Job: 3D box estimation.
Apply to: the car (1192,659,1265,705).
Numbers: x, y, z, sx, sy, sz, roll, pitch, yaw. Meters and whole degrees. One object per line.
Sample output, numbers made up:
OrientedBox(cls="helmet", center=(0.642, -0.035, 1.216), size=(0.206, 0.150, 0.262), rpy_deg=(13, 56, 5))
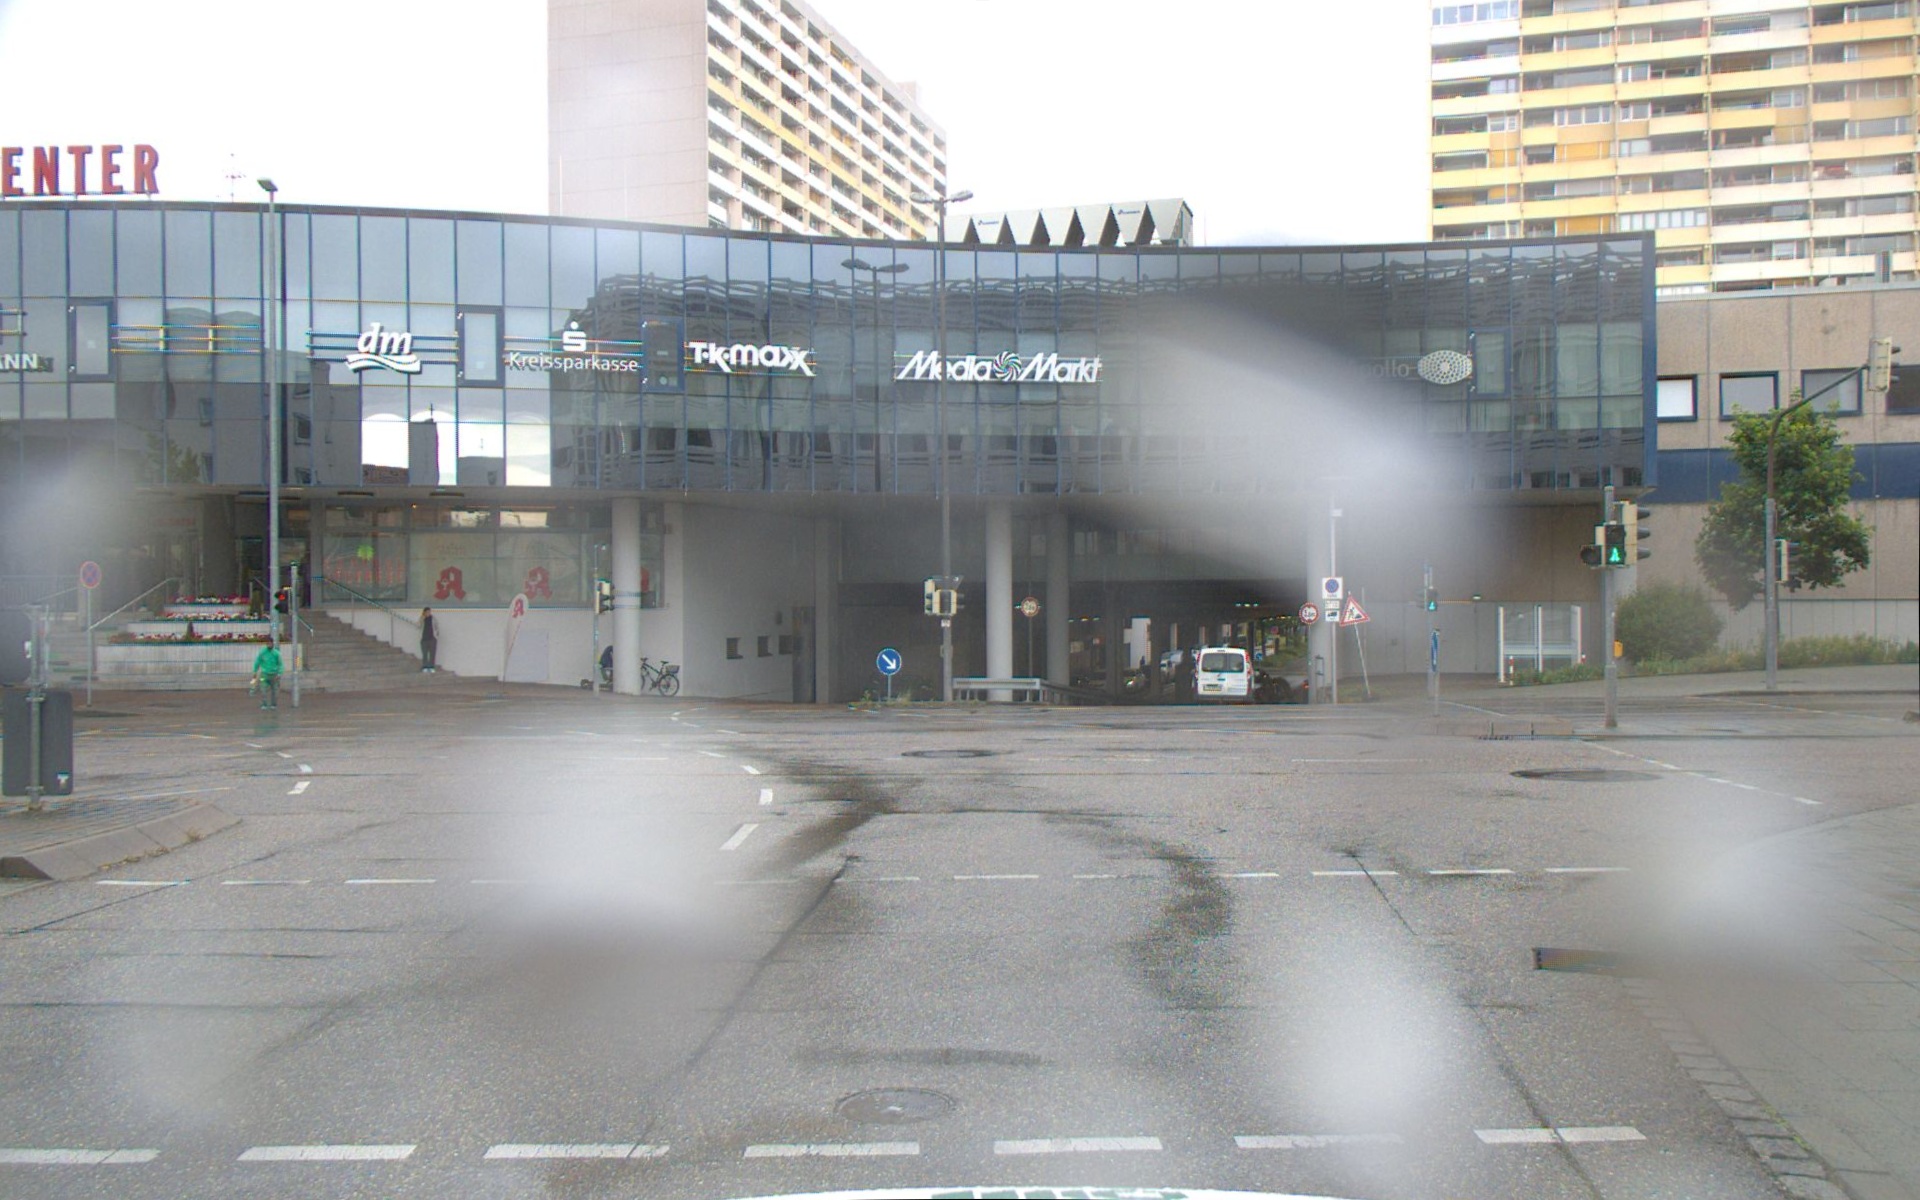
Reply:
OrientedBox(cls="car", center=(9.165, 2.814, 56.299), size=(1.721, 1.490, 3.943), rpy_deg=(-2, -4, 20))

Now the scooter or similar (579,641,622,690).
OrientedBox(cls="scooter or similar", center=(-10.437, 1.907, 48.020), size=(1.147, 1.397, 0.487), rpy_deg=(1, -1, -16))

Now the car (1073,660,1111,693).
OrientedBox(cls="car", center=(7.676, 4.426, 96.139), size=(1.797, 1.758, 4.003), rpy_deg=(-1, -1, 11))

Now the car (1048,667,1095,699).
OrientedBox(cls="car", center=(6.179, 4.588, 91.314), size=(1.874, 1.616, 3.941), rpy_deg=(-1, -1, 15))

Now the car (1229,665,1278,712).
OrientedBox(cls="car", center=(10.854, 3.244, 61.022), size=(1.598, 1.640, 4.265), rpy_deg=(-2, -3, 12))

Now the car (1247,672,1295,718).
OrientedBox(cls="car", center=(13.387, 4.058, 71.106), size=(1.753, 1.802, 4.003), rpy_deg=(-1, -1, 14))

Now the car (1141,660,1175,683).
OrientedBox(cls="car", center=(13.746, 4.924, 114.731), size=(1.951, 1.489, 4.003), rpy_deg=(-1, -1, 12))

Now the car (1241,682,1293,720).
OrientedBox(cls="car", center=(12.303, 4.052, 66.134), size=(1.741, 1.425, 4.002), rpy_deg=(-1, -4, 15))

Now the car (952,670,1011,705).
OrientedBox(cls="car", center=(0.990, 3.932, 74.383), size=(1.733, 1.490, 3.878), rpy_deg=(-1, -3, 15))

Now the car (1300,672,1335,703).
OrientedBox(cls="car", center=(19.732, 4.796, 91.129), size=(1.847, 1.517, 3.844), rpy_deg=(1, -1, 13))

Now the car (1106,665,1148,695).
OrientedBox(cls="car", center=(10.341, 4.932, 101.959), size=(1.951, 1.693, 4.003), rpy_deg=(1, -1, 15))

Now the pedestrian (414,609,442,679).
OrientedBox(cls="pedestrian", center=(-14.957, 1.233, 46.517), size=(0.643, 1.942, 0.593), rpy_deg=(1, -1, -9))

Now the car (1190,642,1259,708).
OrientedBox(cls="car", center=(7.817, 2.191, 48.719), size=(1.884, 1.829, 4.299), rpy_deg=(-1, -2, 10))

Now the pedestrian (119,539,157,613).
OrientedBox(cls="pedestrian", center=(-23.368, -0.676, 47.005), size=(0.822, 2.049, 0.941), rpy_deg=(2, -1, -34))

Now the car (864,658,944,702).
OrientedBox(cls="car", center=(-2.072, 3.055, 62.417), size=(1.852, 1.496, 4.029), rpy_deg=(-1, -5, 16))

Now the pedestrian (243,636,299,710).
OrientedBox(cls="pedestrian", center=(-15.720, 1.659, 37.746), size=(0.930, 1.652, 0.809), rpy_deg=(-1, -1, -1))

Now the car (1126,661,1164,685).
OrientedBox(cls="car", center=(12.297, 4.834, 109.628), size=(1.951, 1.489, 4.003), rpy_deg=(-1, -1, 15))

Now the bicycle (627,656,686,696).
OrientedBox(cls="bicycle", center=(-8.903, 2.241, 48.520), size=(1.566, 1.035, 0.447), rpy_deg=(7, -4, -32))
